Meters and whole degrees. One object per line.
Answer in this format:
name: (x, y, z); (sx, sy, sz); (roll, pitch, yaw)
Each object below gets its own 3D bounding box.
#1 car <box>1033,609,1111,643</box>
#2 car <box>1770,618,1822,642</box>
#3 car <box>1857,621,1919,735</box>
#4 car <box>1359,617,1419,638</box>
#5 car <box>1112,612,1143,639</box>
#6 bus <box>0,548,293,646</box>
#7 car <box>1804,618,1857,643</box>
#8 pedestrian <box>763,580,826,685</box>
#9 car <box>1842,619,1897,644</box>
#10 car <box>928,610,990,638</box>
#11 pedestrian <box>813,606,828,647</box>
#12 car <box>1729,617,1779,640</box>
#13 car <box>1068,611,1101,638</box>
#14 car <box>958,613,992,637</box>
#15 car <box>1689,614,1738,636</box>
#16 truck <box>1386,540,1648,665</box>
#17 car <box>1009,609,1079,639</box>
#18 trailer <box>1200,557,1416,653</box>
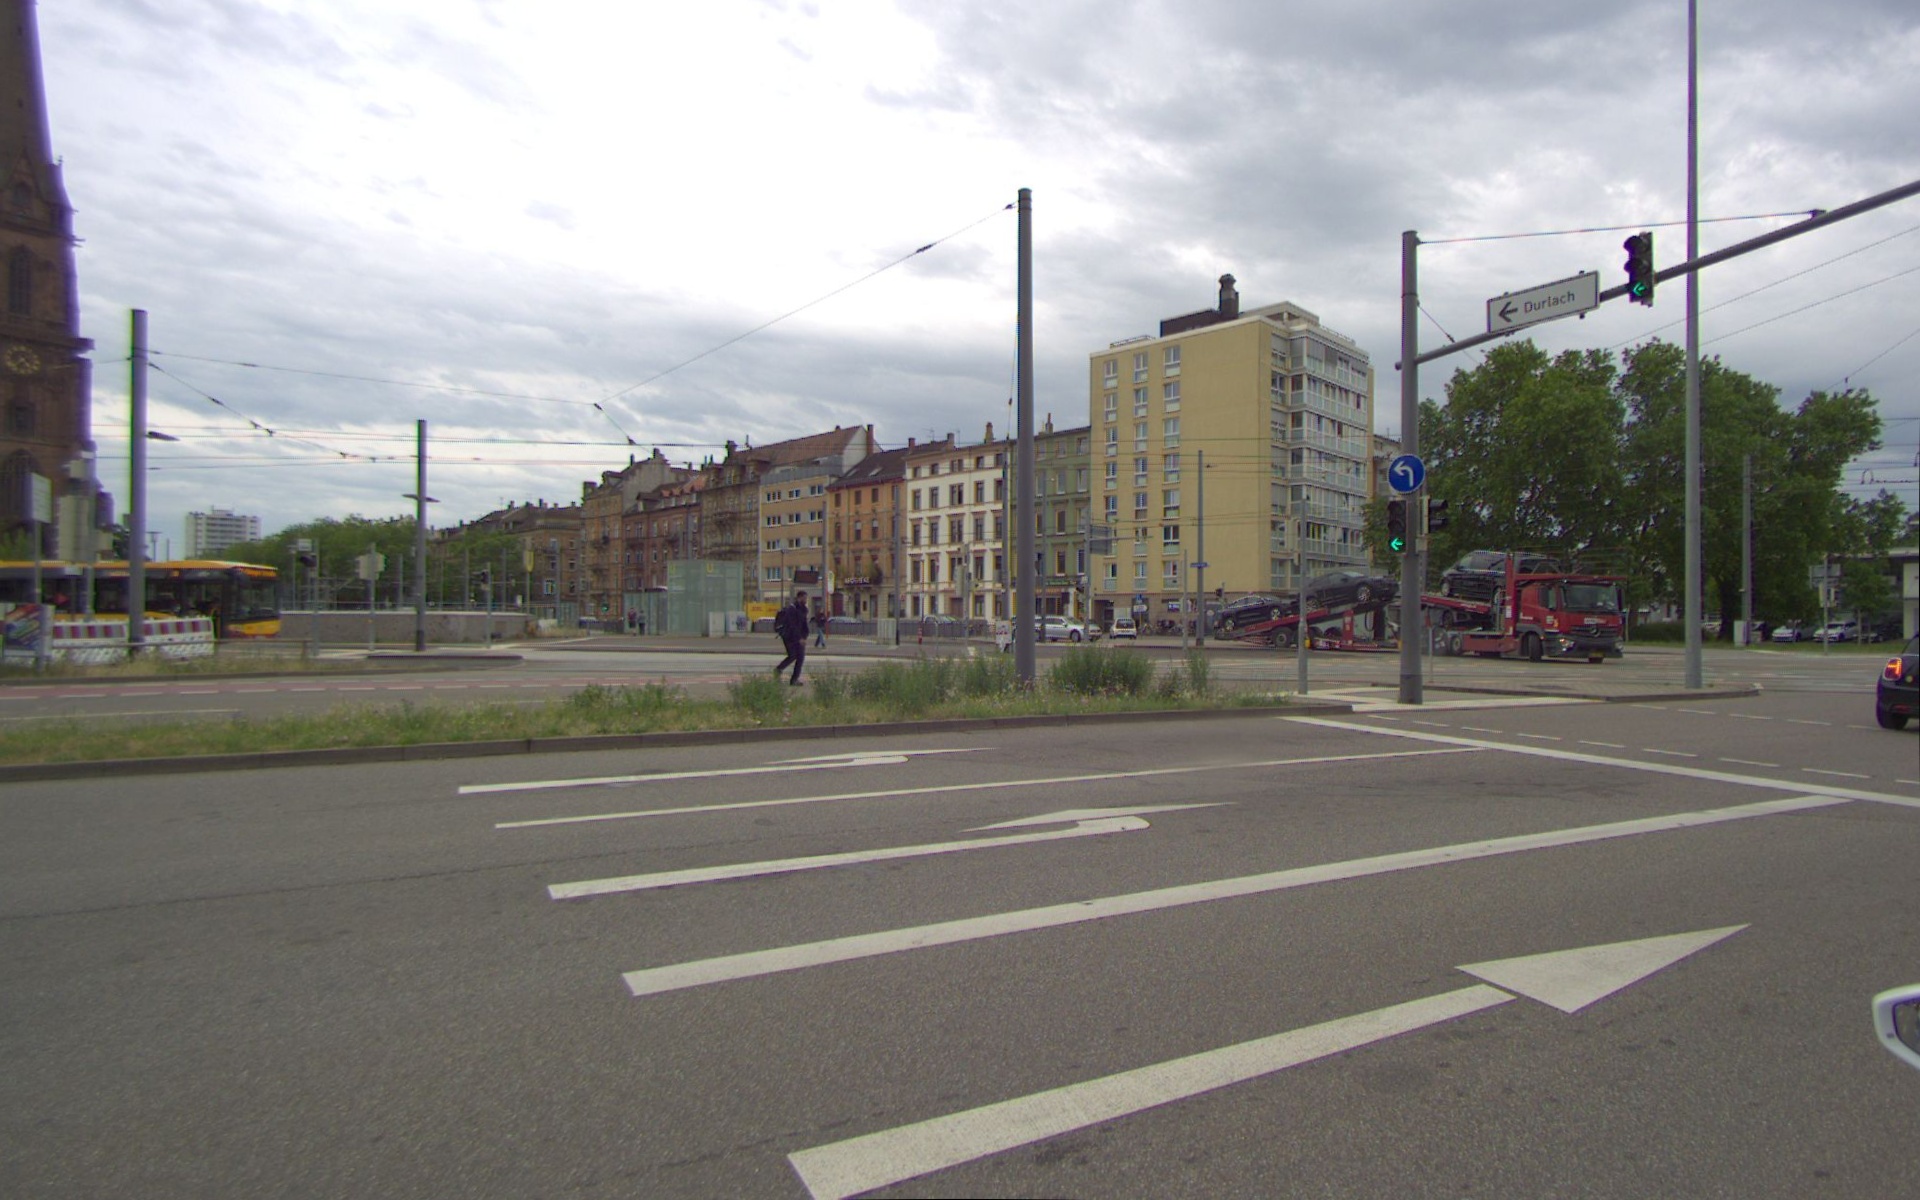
car: (6.285, 1.441, 56.387); (3.943, 1.751, 1.989); (1, 0, 43)
car: (73.873, 2.639, 88.784); (3.945, 2.040, 1.988); (1, 0, -25)
car: (14.410, 1.045, 13.983); (3.953, 1.488, 1.761); (1, -1, -30)
car: (33.284, 2.118, 77.950); (3.942, 1.572, 1.990); (-1, -1, 42)
car: (11.789, 1.735, 70.463); (2.039, 1.779, 4.002); (1, 0, 11)
bus: (-30.221, -0.142, 35.269); (11.781, 3.118, 2.865); (1, 0, 1)
car: (74.982, 2.615, 86.527); (3.945, 2.040, 1.988); (1, 0, -25)
pedestrian: (-3.162, 0.611, 19.244); (0.961, 1.969, 0.782); (0, -1, 10)
car: (75.932, 2.636, 83.840); (3.945, 2.040, 1.988); (1, 0, -25)
car: (-0.086, 1.618, 68.571); (3.943, 1.751, 1.989); (1, 0, 43)
pedestrian: (-5.713, 1.078, 41.068); (0.475, 1.632, 0.422); (1, -1, -30)
car: (72.278, 2.587, 91.463); (3.945, 2.040, 1.988); (1, 0, -25)
car: (8.904, 1.686, 71.384); (2.039, 1.779, 4.002); (1, 0, 11)
car: (1.200, 1.959, 80.471); (2.039, 1.779, 4.002); (1, 0, 11)
car: (70.965, 2.363, 94.584); (3.945, 2.040, 1.988); (1, 0, -25)
truck: (20.243, 0.078, 37.678); (2.959, 3.972, 10.444); (1, 0, -7)
car: (5.239, 1.479, 62.680); (3.943, 1.751, 1.989); (1, 0, 43)
trailer: (15.914, 0.177, 46.802); (2.970, 4.026, 9.450); (1, 0, -37)
